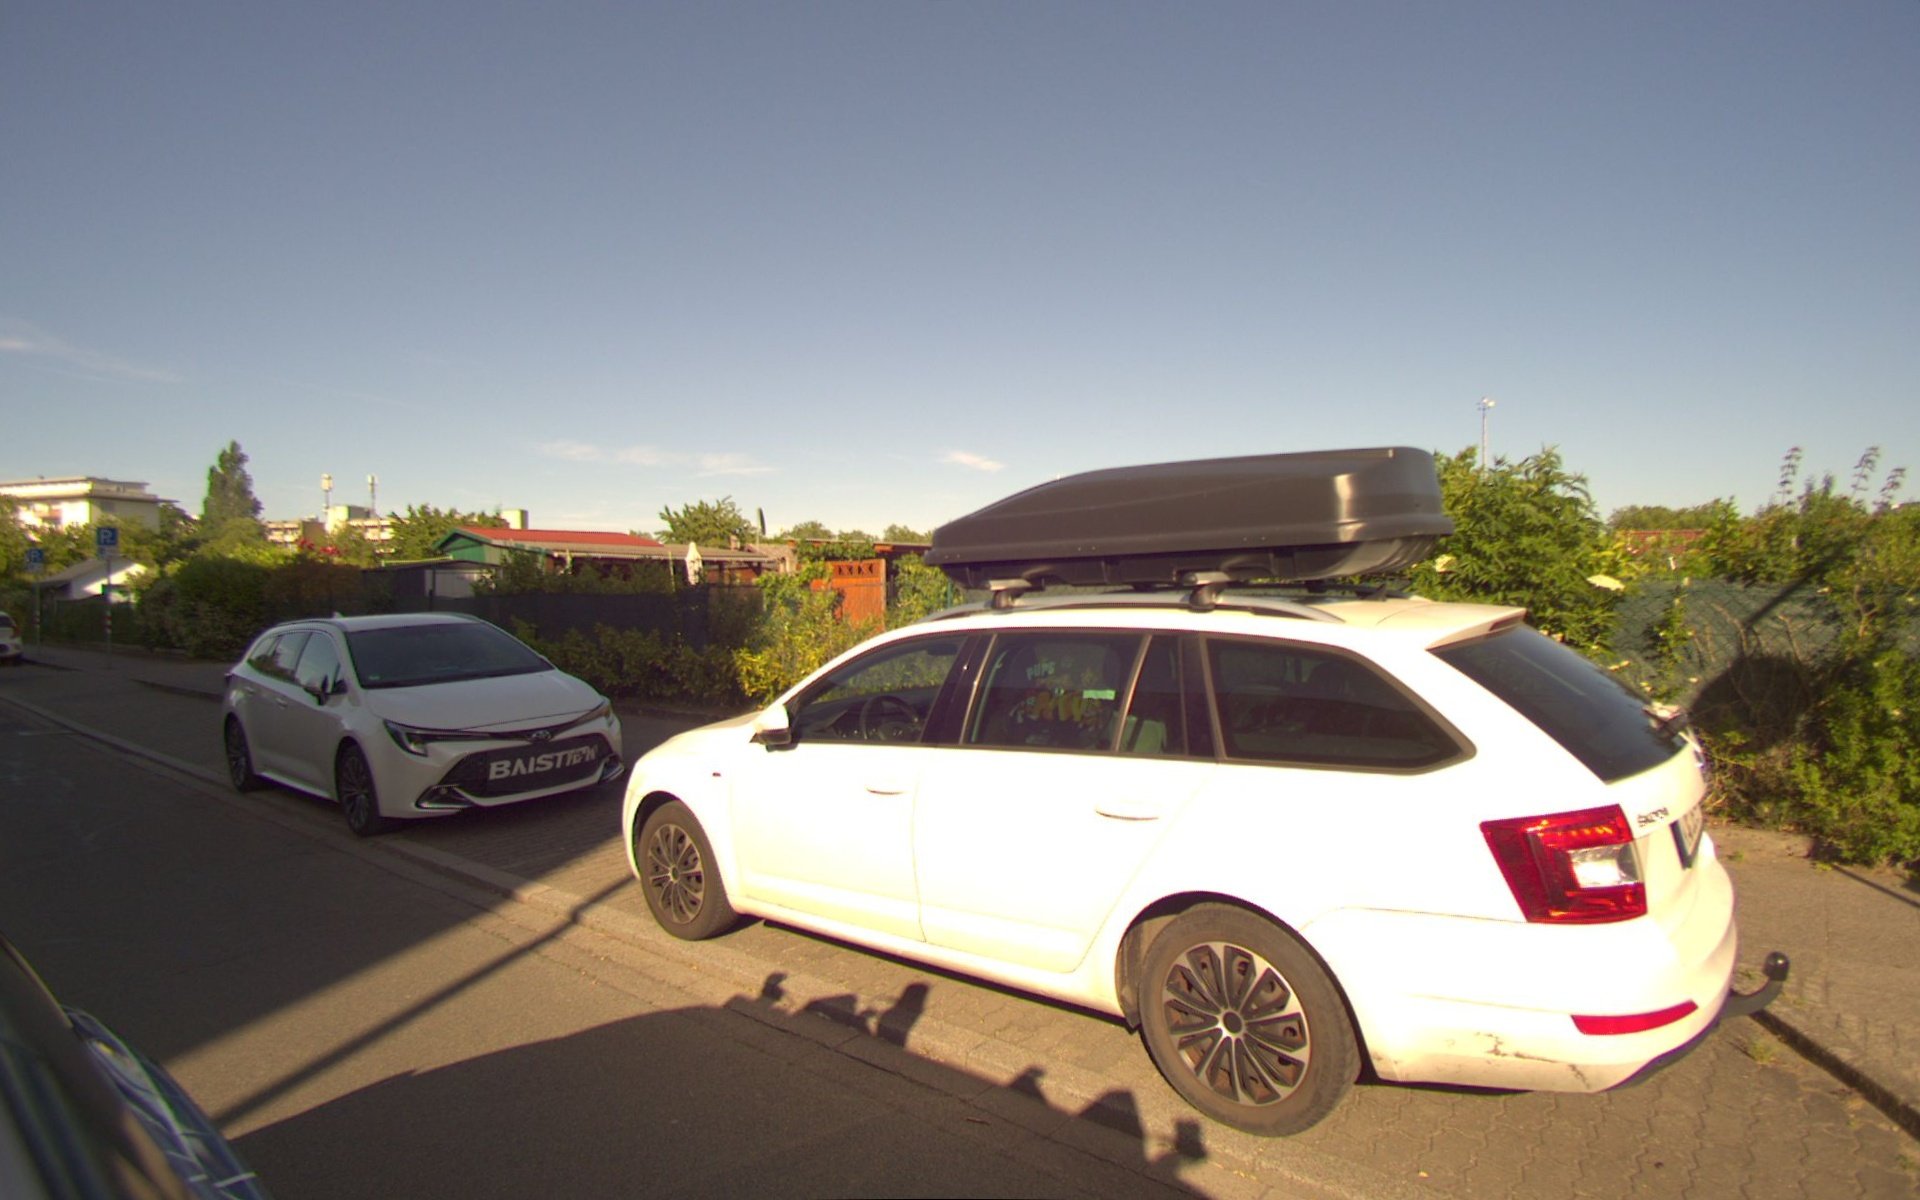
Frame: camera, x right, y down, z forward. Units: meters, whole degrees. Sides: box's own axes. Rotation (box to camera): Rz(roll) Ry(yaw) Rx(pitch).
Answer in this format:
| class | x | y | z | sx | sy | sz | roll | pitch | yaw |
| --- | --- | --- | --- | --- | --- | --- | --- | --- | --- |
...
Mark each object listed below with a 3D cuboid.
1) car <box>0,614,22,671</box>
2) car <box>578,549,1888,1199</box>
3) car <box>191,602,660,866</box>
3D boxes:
| class | x | y | z | sx | sy | sz | roll | pitch | yaw |
| --- | --- | --- | --- | --- | --- | --- | --- | --- | --- |
| car | -26.801 | 1.152 | 27.490 | 3.399 | 1.499 | 1.512 | -1 | 0 | 40 |
| car | 0.492 | 0.673 | 3.951 | 4.513 | 1.524 | 1.679 | -1 | 2 | 40 |
| car | -4.477 | 0.825 | 8.131 | 4.538 | 1.456 | 1.729 | -1 | 3 | 41 |
